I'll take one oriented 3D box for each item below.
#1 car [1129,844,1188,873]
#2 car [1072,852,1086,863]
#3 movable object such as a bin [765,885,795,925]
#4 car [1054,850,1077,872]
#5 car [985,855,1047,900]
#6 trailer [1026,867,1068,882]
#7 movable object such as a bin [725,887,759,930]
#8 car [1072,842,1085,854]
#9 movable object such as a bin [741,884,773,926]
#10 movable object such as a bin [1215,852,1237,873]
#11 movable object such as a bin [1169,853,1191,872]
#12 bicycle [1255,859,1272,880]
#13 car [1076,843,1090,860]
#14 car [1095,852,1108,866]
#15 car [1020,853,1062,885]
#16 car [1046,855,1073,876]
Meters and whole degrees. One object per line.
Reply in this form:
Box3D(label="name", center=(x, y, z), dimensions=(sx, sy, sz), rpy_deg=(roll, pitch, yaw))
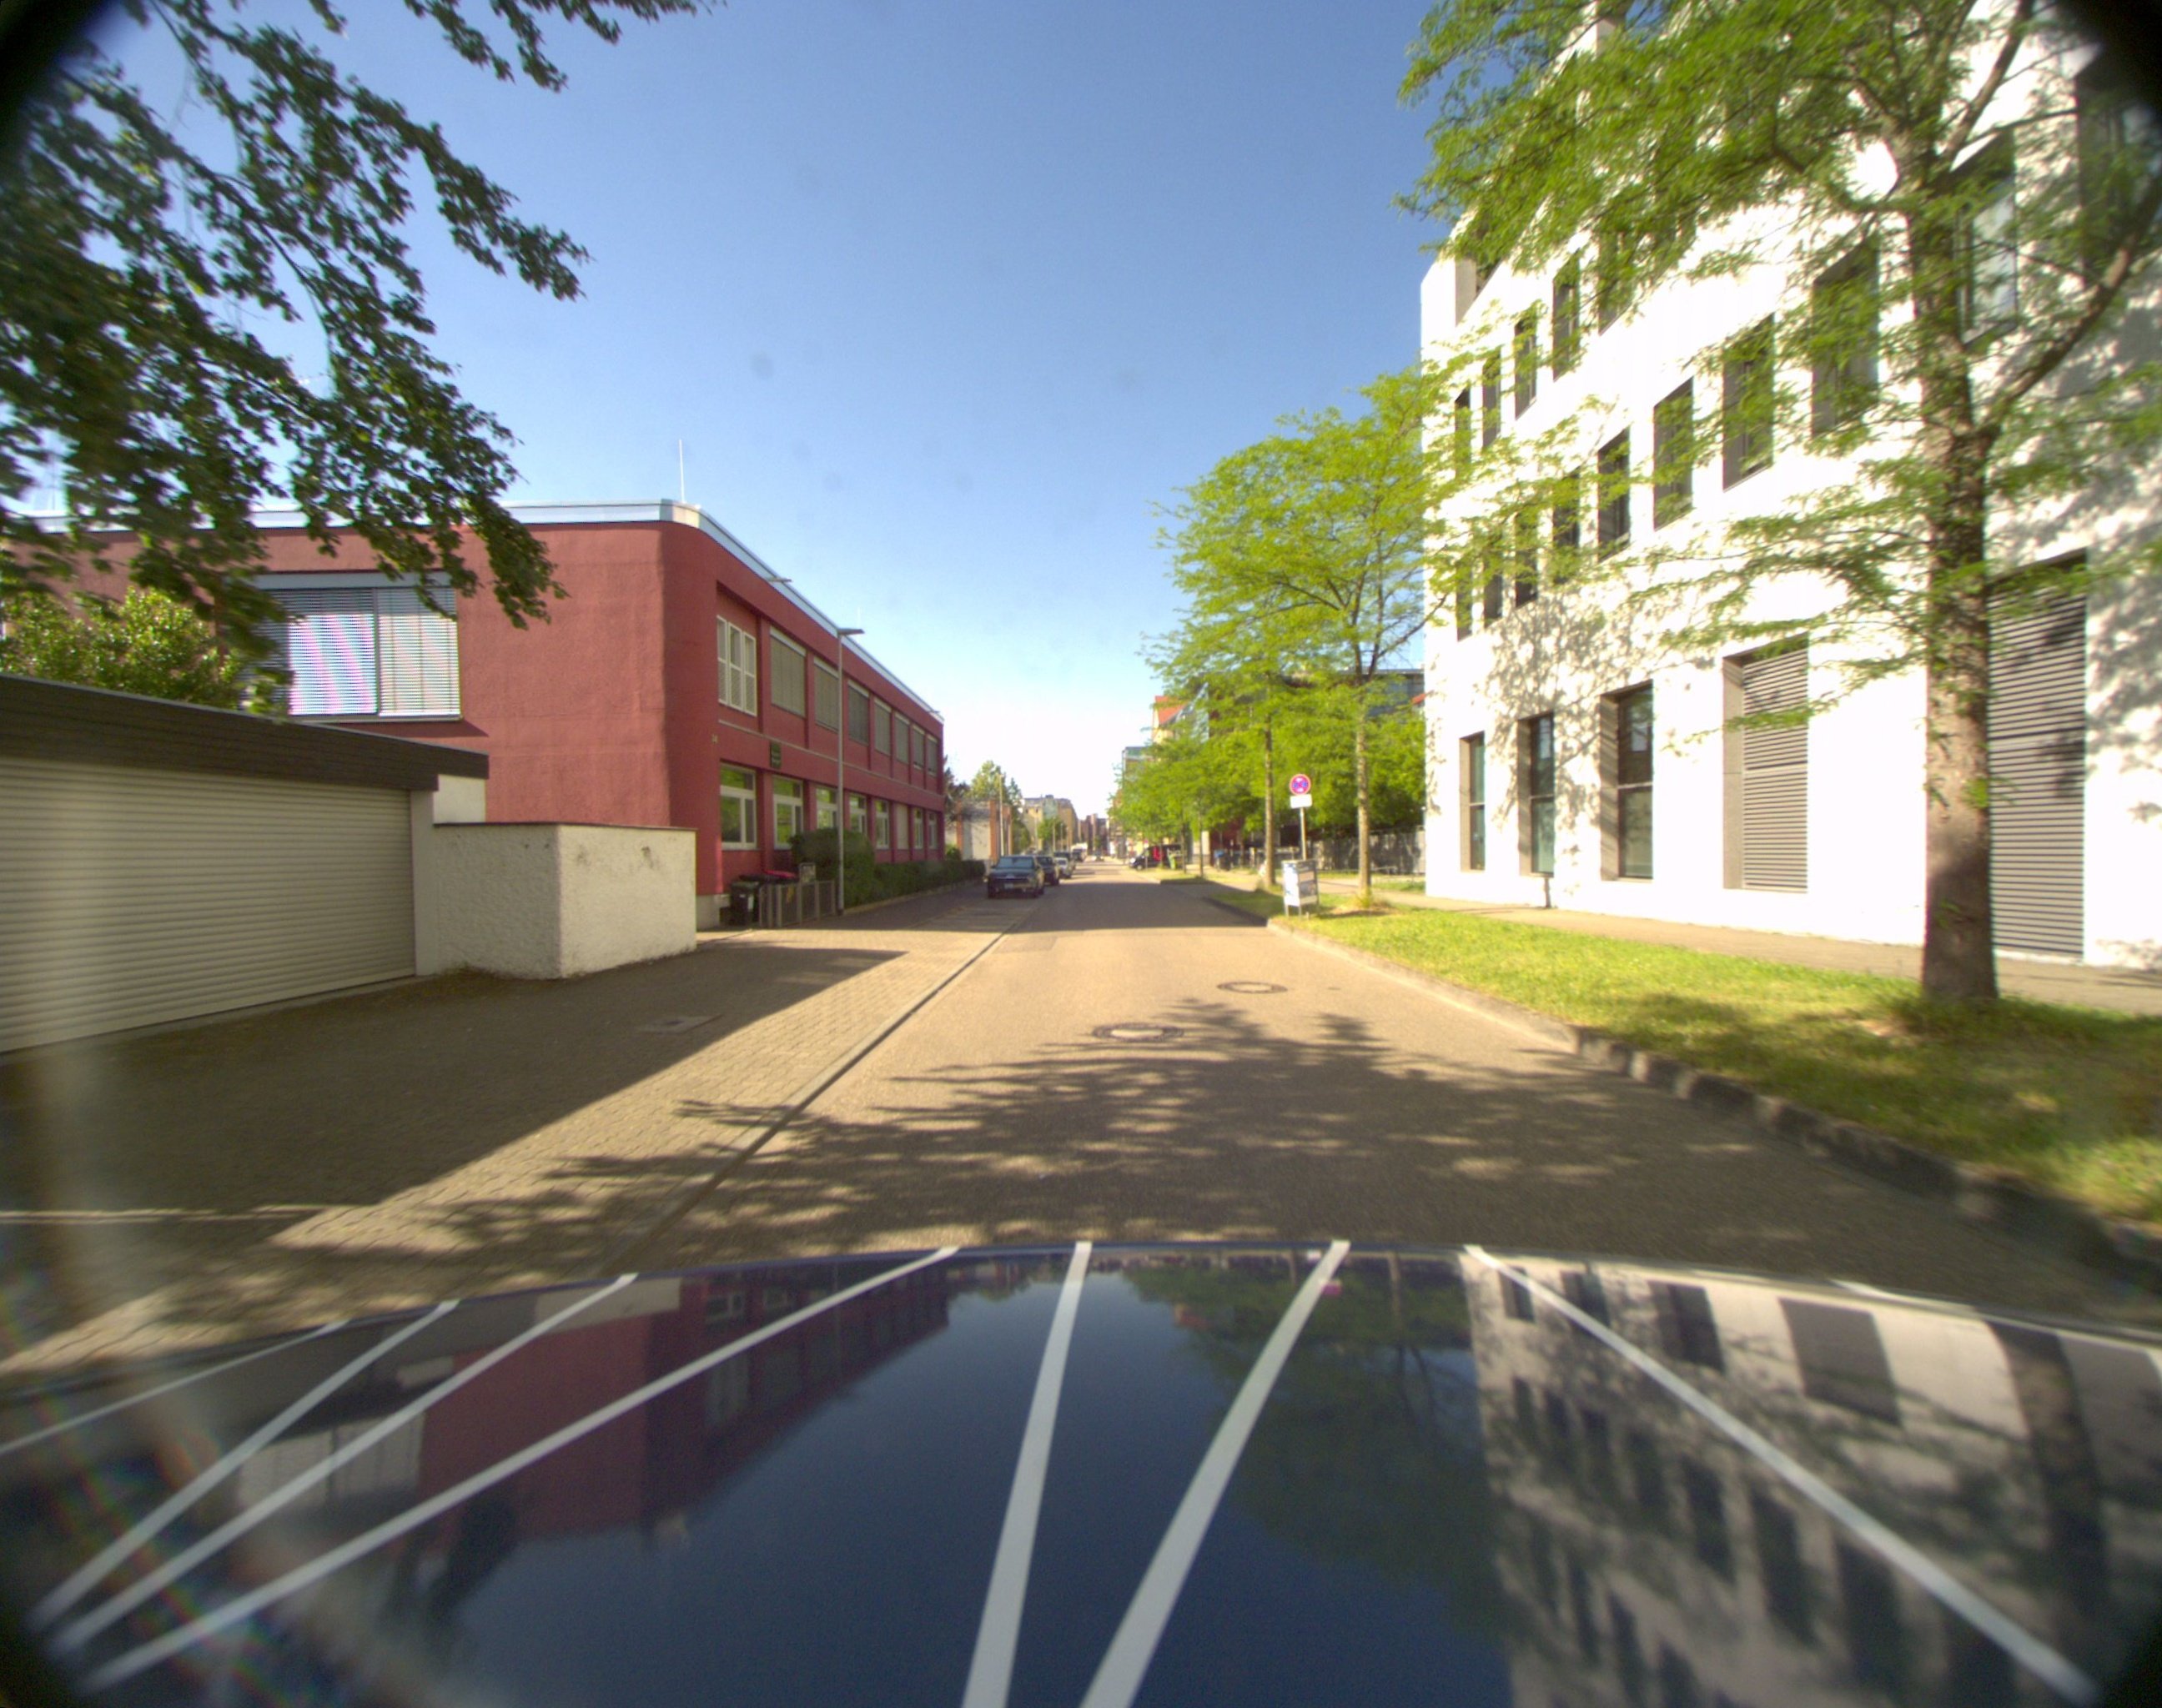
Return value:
Box3D(label="car", center=(7.523, 0.401, 74.373), dimensions=(5.489, 2.526, 1.986), rpy_deg=(-3, 0, 1))
Box3D(label="car", center=(-0.338, 0.495, 113.026), dimensions=(1.903, 1.585, 4.373), rpy_deg=(0, 0, 2))
Box3D(label="movable object such as a bin", center=(-7.190, 1.212, 18.157), dimensions=(0.478, 0.895, 0.475), rpy_deg=(-2, 1, 3))
Box3D(label="car", center=(-1.455, 0.628, 71.475), dimensions=(1.903, 1.974, 4.373), rpy_deg=(0, 0, 2))
Box3D(label="car", center=(-2.428, 0.838, 29.524), dimensions=(1.903, 1.620, 4.373), rpy_deg=(0, 0, 2))
Box3D(label="trailer", center=(-2.294, 1.374, 51.693), dimensions=(1.563, 0.922, 2.987), rpy_deg=(0, 0, 28))
Box3D(label="movable object such as a bin", center=(-7.343, 1.174, 16.480), dimensions=(0.478, 0.895, 0.475), rpy_deg=(-2, 1, 3))
Box3D(label="car", center=(-0.426, -0.983, 121.997), dimensions=(1.903, 1.974, 4.373), rpy_deg=(0, 0, 2))
Box3D(label="movable object such as a bin", center=(-7.316, 1.143, 17.177), dimensions=(0.478, 0.895, 0.475), rpy_deg=(-2, 1, 3))
Box3D(label="movable object such as a bin", center=(11.242, 0.618, 58.976), dimensions=(1.522, 1.559, 1.347), rpy_deg=(-2, 0, 6))
Box3D(label="movable object such as a bin", center=(8.488, 0.744, 65.139), dimensions=(1.524, 1.559, 1.345), rpy_deg=(-2, 0, -8))
Box3D(label="bicycle", center=(10.883, 0.928, 45.346), dimensions=(0.602, 1.185, 1.728), rpy_deg=(-2, 0, 2))
Box3D(label="car", center=(0.428, -0.562, 172.928), dimensions=(2.913, 3.920, 6.326), rpy_deg=(0, 0, 3))
Box3D(label="car", center=(3.021, 0.724, 112.734), dimensions=(1.903, 1.974, 4.373), rpy_deg=(0, 0, 2))
Box3D(label="car", center=(-2.090, 0.745, 40.967), dimensions=(1.878, 1.620, 4.407), rpy_deg=(0, 0, 2))
Box3D(label="car", center=(-1.523, 0.792, 55.010), dimensions=(1.699, 1.447, 3.890), rpy_deg=(0, 0, 2))
